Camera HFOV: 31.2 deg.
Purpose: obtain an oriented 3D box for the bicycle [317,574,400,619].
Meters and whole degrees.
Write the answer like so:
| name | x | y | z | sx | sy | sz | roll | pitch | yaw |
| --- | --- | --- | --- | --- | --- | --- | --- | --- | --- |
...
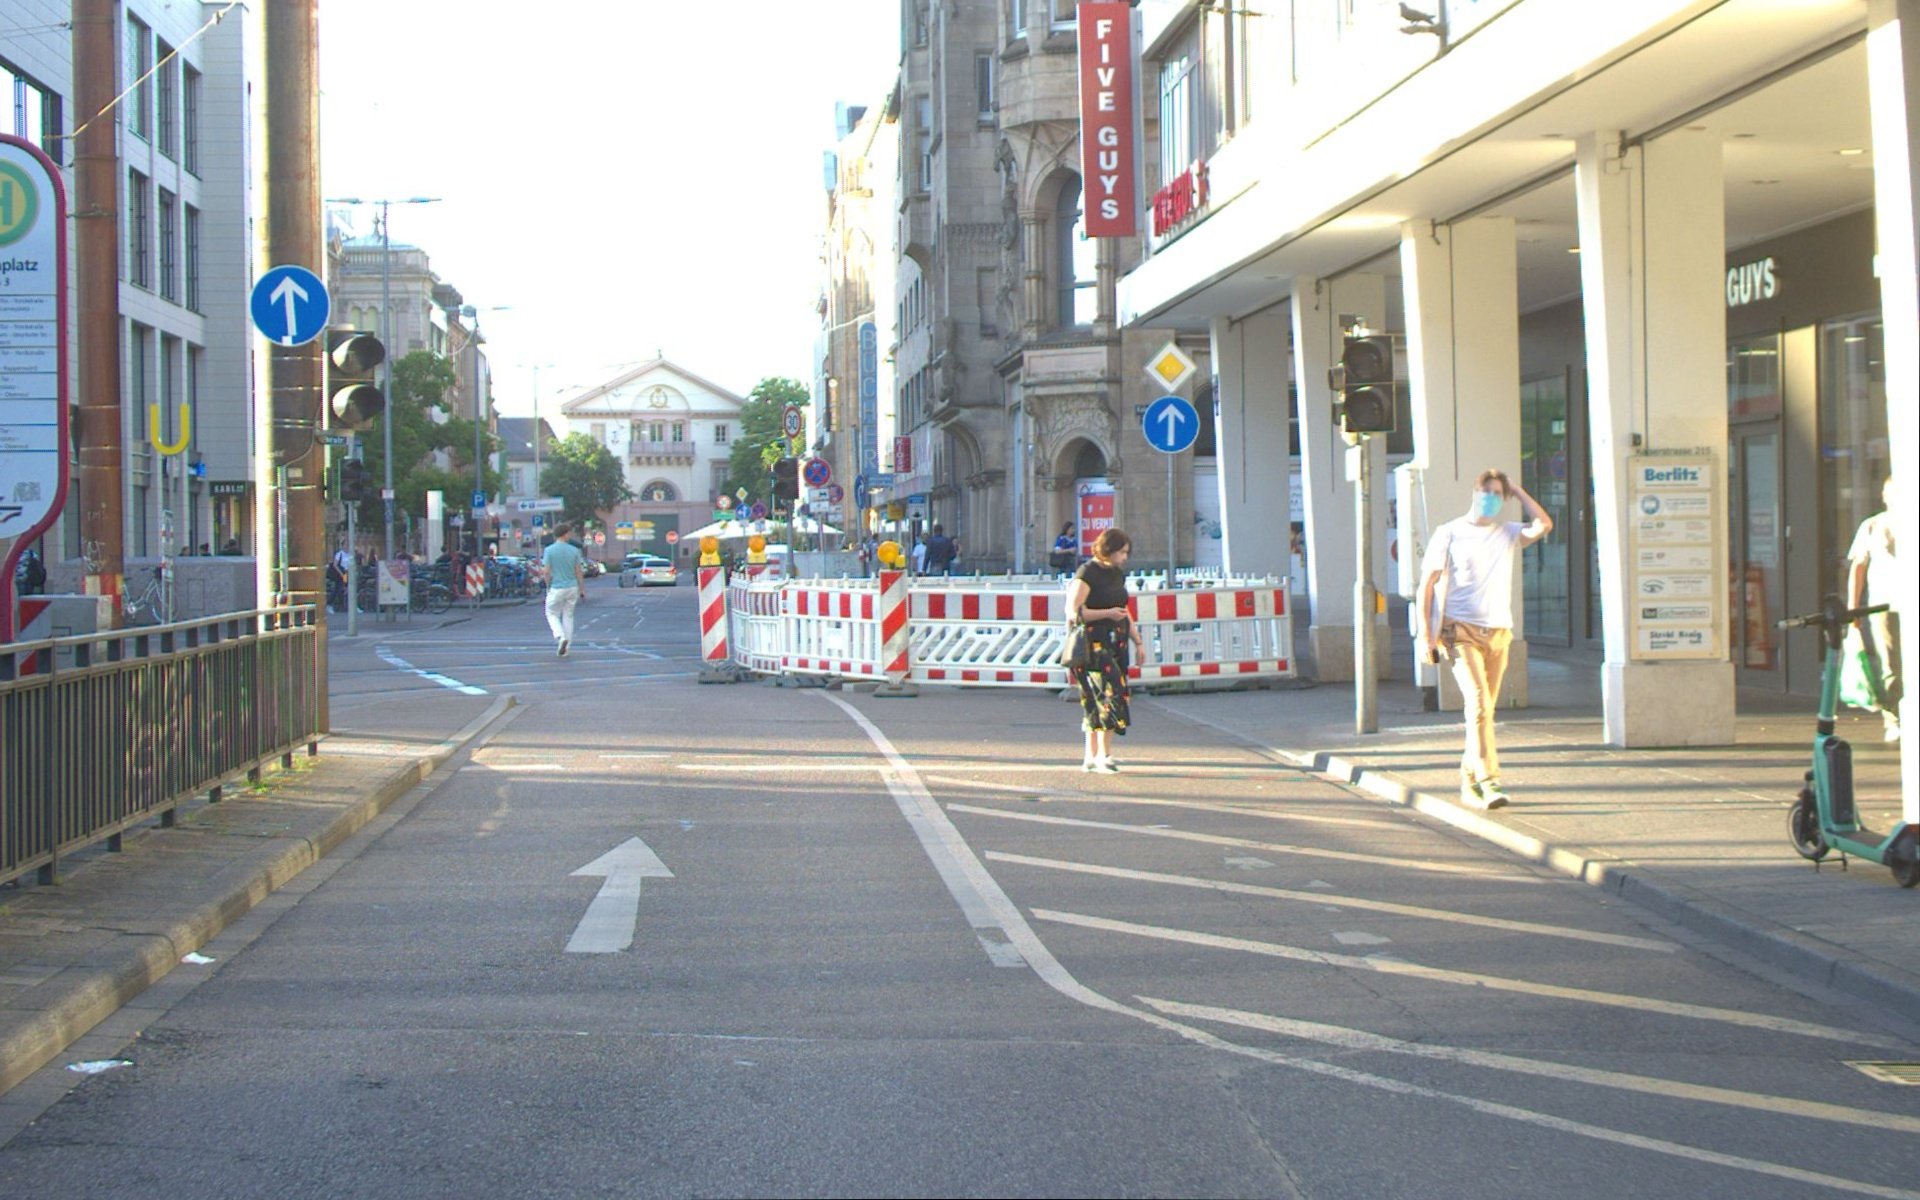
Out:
| name | x | y | z | sx | sy | sz | roll | pitch | yaw |
| --- | --- | --- | --- | --- | --- | --- | --- | --- | --- |
| bicycle | -14.977 | -0.088 | 85.580 | 1.967 | 1.118 | 0.558 | 0 | 0 | -33 |

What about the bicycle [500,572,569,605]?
| name | x | y | z | sx | sy | sz | roll | pitch | yaw |
| --- | --- | --- | --- | --- | --- | --- | --- | --- | --- |
| bicycle | -13.688 | -0.367 | 110.624 | 2.148 | 1.026 | 0.640 | -1 | 0 | -2 |

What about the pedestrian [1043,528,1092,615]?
| name | x | y | z | sx | sy | sz | roll | pitch | yaw |
| --- | --- | --- | --- | --- | --- | --- | --- | --- | --- |
| pedestrian | 1.998 | -0.531 | 63.789 | 0.819 | 1.605 | 0.713 | 0 | 0 | -4 |

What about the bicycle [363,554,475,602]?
| name | x | y | z | sx | sy | sz | roll | pitch | yaw |
| --- | --- | --- | --- | --- | --- | --- | --- | --- | --- |
| bicycle | -14.791 | -0.602 | 94.051 | 2.887 | 1.251 | 0.804 | -1 | 1 | -30 |

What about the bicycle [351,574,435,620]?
| name | x | y | z | sx | sy | sz | roll | pitch | yaw |
| --- | --- | --- | --- | --- | --- | --- | --- | --- | --- |
| bicycle | -13.863 | -0.068 | 84.076 | 1.967 | 1.118 | 0.558 | 0 | 0 | -33 |

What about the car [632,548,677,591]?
| name | x | y | z | sx | sy | sz | roll | pitch | yaw |
| --- | --- | --- | --- | --- | --- | --- | --- | --- | --- |
| car | -13.900 | -1.391 | 156.552 | 1.993 | 1.897 | 4.001 | 0 | 0 | -4 |

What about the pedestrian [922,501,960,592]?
| name | x | y | z | sx | sy | sz | roll | pitch | yaw |
| --- | --- | --- | --- | --- | --- | --- | --- | --- | --- |
| pedestrian | -0.362 | -1.005 | 64.637 | 0.625 | 1.684 | 0.671 | -1 | 0 | -6 |

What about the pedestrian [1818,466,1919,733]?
| name | x | y | z | sx | sy | sz | roll | pitch | yaw |
| --- | --- | --- | --- | --- | --- | --- | --- | --- | --- |
| pedestrian | 6.319 | -0.006 | 23.619 | 0.699 | 1.809 | 0.630 | 0 | 0 | 3 |

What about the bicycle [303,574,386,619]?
| name | x | y | z | sx | sy | sz | roll | pitch | yaw |
| --- | --- | --- | --- | --- | --- | --- | --- | --- | --- |
| bicycle | -15.427 | -0.096 | 86.193 | 1.967 | 1.118 | 0.558 | 0 | 0 | -33 |

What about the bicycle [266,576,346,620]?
| name | x | y | z | sx | sy | sz | roll | pitch | yaw |
| --- | --- | --- | --- | --- | --- | --- | --- | --- | --- |
| bicycle | -16.794 | -0.052 | 88.290 | 1.967 | 1.118 | 0.558 | 0 | 0 | -33 |

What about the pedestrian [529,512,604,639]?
| name | x | y | z | sx | sy | sz | roll | pitch | yaw |
| --- | --- | --- | --- | --- | --- | --- | --- | --- | --- |
| pedestrian | -5.502 | -0.348 | 48.146 | 0.866 | 1.755 | 0.767 | 1 | 0 | 8 |

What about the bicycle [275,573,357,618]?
| name | x | y | z | sx | sy | sz | roll | pitch | yaw |
| --- | --- | --- | --- | --- | --- | --- | --- | --- | --- |
| bicycle | -16.371 | -0.112 | 87.367 | 1.967 | 1.118 | 0.558 | 0 | 0 | -33 |

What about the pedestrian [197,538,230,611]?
| name | x | y | z | sx | sy | sz | roll | pitch | yaw |
| --- | --- | --- | --- | --- | --- | --- | --- | --- | --- |
| pedestrian | -17.288 | -0.598 | 79.674 | 0.680 | 1.675 | 0.600 | 0 | 0 | -7 |

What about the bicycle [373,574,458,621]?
| name | x | y | z | sx | sy | sz | roll | pitch | yaw |
| --- | --- | --- | --- | --- | --- | --- | --- | --- | --- |
| bicycle | -13.196 | -0.057 | 83.367 | 1.967 | 1.118 | 0.558 | 0 | 0 | -33 |

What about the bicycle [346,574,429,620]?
| name | x | y | z | sx | sy | sz | roll | pitch | yaw |
| --- | --- | --- | --- | --- | --- | --- | --- | --- | --- |
| bicycle | -14.111 | -0.075 | 84.779 | 1.967 | 1.118 | 0.558 | 0 | 0 | -33 |

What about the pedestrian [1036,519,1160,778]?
| name | x | y | z | sx | sy | sz | roll | pitch | yaw |
| --- | --- | --- | --- | --- | --- | --- | --- | --- | --- |
| pedestrian | 0.907 | 0.316 | 22.689 | 0.699 | 1.687 | 0.541 | 0 | 0 | -11 |

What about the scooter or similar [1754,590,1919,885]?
| name | x | y | z | sx | sy | sz | roll | pitch | yaw |
| --- | --- | --- | --- | --- | --- | --- | --- | --- | --- |
| scooter or similar | 3.933 | 0.580 | 15.157 | 0.505 | 1.230 | 1.180 | -1 | 1 | -4 |

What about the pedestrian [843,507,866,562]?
| name | x | y | z | sx | sy | sz | roll | pitch | yaw |
| --- | --- | --- | --- | --- | --- | --- | --- | --- | --- |
| pedestrian | -3.276 | -2.034 | 106.584 | 0.643 | 1.684 | 0.671 | -1 | 0 | -6 |

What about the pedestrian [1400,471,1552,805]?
| name | x | y | z | sx | sy | sz | roll | pitch | yaw |
| --- | --- | --- | --- | --- | --- | --- | --- | --- | --- |
| pedestrian | 2.858 | 0.200 | 19.102 | 0.699 | 1.809 | 0.852 | 0 | 0 | 0 |

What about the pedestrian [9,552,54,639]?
| name | x | y | z | sx | sy | sz | roll | pitch | yaw |
| --- | --- | --- | --- | --- | --- | --- | --- | --- | --- |
| pedestrian | -18.733 | -0.088 | 69.387 | 0.781 | 1.745 | 0.600 | 0 | 0 | -7 |

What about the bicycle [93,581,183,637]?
| name | x | y | z | sx | sy | sz | roll | pitch | yaw |
| --- | --- | --- | --- | --- | --- | --- | --- | --- | --- |
| bicycle | -16.445 | 0.178 | 68.795 | 1.696 | 1.118 | 0.451 | 0 | 0 | -1 |

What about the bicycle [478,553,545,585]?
| name | x | y | z | sx | sy | sz | roll | pitch | yaw |
| --- | --- | --- | --- | --- | --- | --- | --- | --- | --- |
| bicycle | -14.867 | -1.024 | 113.949 | 2.148 | 1.026 | 0.640 | -1 | 0 | -2 |
